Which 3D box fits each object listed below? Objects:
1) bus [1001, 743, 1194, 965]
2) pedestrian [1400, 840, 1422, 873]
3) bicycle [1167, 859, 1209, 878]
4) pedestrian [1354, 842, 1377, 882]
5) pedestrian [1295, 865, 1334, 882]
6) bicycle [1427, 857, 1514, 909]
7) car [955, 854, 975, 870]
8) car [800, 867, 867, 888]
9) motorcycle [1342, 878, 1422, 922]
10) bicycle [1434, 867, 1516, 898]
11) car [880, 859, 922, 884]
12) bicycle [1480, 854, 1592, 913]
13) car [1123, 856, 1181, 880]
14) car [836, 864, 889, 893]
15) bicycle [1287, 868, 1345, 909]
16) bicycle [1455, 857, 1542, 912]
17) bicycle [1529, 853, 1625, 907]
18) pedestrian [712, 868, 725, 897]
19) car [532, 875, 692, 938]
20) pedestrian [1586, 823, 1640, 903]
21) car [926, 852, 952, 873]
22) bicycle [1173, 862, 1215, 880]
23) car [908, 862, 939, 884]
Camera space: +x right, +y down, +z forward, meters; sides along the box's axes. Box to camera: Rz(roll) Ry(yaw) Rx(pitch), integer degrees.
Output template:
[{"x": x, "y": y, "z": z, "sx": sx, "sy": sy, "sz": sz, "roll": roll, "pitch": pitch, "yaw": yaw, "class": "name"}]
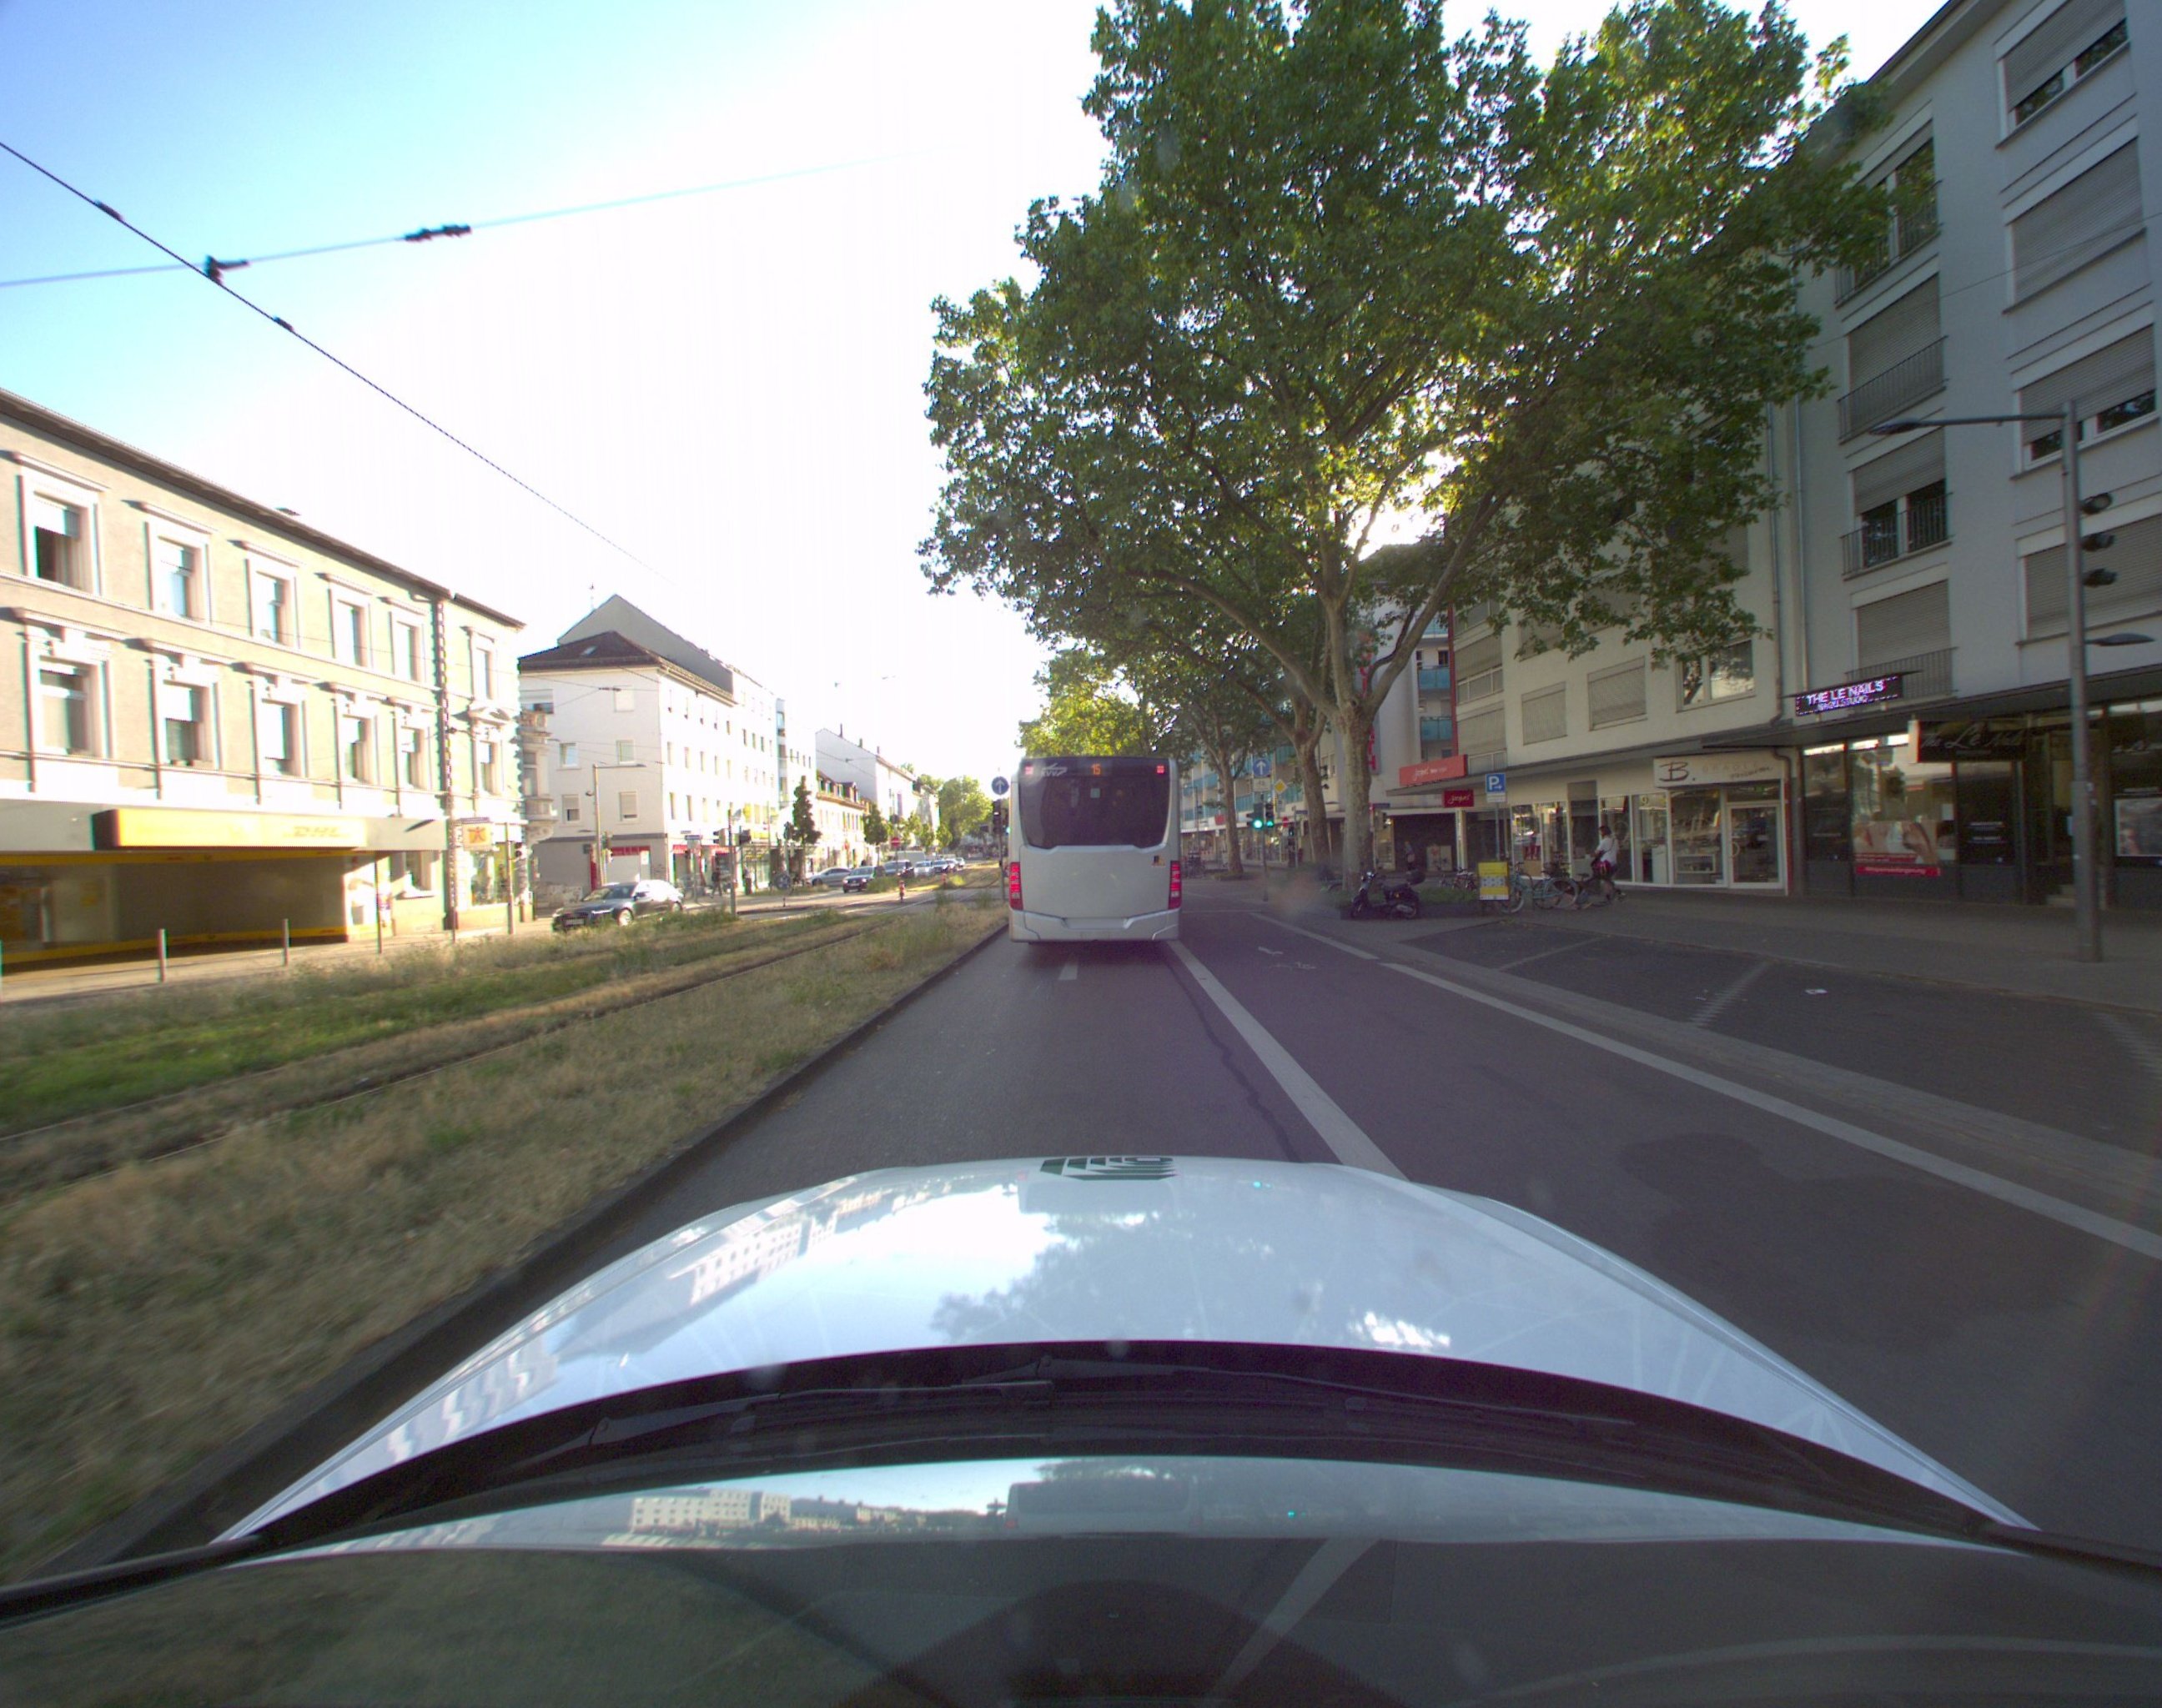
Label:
[{"x": 0.408, "y": -0.005, "z": 15.043, "sx": 2.667, "sy": 3.083, "sz": 7.119, "roll": -1, "pitch": 0, "yaw": 3, "class": "bus"}, {"x": 17.581, "y": 0.131, "z": 43.414, "sx": 0.746, "sy": 1.679, "sz": 0.834, "roll": -2, "pitch": 2, "yaw": -5, "class": "pedestrian"}, {"x": 6.418, "y": 0.861, "z": 48.946, "sx": 2.308, "sy": 1.028, "sz": 0.835, "roll": -2, "pitch": 1, "yaw": -7, "class": "bicycle"}, {"x": 13.340, "y": 0.376, "z": 38.214, "sx": 0.777, "sy": 1.794, "sz": 0.764, "roll": -2, "pitch": -1, "yaw": 1, "class": "pedestrian"}, {"x": 8.339, "y": 0.696, "z": 29.146, "sx": 1.250, "sy": 0.589, "sz": 0.482, "roll": -1, "pitch": -1, "yaw": -1, "class": "pedestrian"}, {"x": 10.214, "y": 0.765, "z": 21.421, "sx": 1.865, "sy": 1.189, "sz": 0.713, "roll": -5, "pitch": -1, "yaw": 9, "class": "bicycle"}, {"x": -15.389, "y": 0.999, "z": 108.198, "sx": 1.988, "sy": 2.013, "sz": 3.998, "roll": -2, "pitch": 0, "yaw": -1, "class": "car"}, {"x": -19.174, "y": 1.783, "z": 63.196, "sx": 4.571, "sy": 1.412, "sz": 1.978, "roll": -2, "pitch": 0, "yaw": -35, "class": "car"}, {"x": 6.744, "y": 1.020, "z": 18.293, "sx": 1.566, "sy": 0.892, "sz": 0.544, "roll": -2, "pitch": -1, "yaw": -2, "class": "motorcycle"}, {"x": 10.713, "y": 0.767, "z": 22.210, "sx": 1.865, "sy": 0.765, "sz": 0.713, "roll": -2, "pitch": 0, "yaw": 9, "class": "bicycle"}, {"x": -12.888, "y": 1.231, "z": 58.711, "sx": 1.773, "sy": 1.615, "sz": 4.512, "roll": 0, "pitch": 0, "yaw": 3, "class": "car"}, {"x": 10.560, "y": 0.677, "z": 18.961, "sx": 2.070, "sy": 1.233, "sz": 0.833, "roll": -3, "pitch": -1, "yaw": 6, "class": "bicycle"}, {"x": 5.077, "y": 0.996, "z": 57.954, "sx": 1.975, "sy": 1.530, "sz": 4.024, "roll": -3, "pitch": 0, "yaw": 44, "class": "car"}, {"x": -13.018, "y": 1.437, "z": 48.821, "sx": 1.773, "sy": 1.450, "sz": 4.048, "roll": -4, "pitch": 1, "yaw": 3, "class": "car"}, {"x": 6.658, "y": 0.968, "z": 23.089, "sx": 1.503, "sy": 1.105, "sz": 0.460, "roll": 1, "pitch": 0, "yaw": 1, "class": "bicycle"}, {"x": 10.455, "y": 0.760, "z": 20.407, "sx": 1.784, "sy": 1.189, "sz": 0.670, "roll": -5, "pitch": -1, "yaw": -7, "class": "bicycle"}, {"x": 11.725, "y": 0.611, "z": 19.307, "sx": 1.753, "sy": 1.154, "sz": 0.680, "roll": -4, "pitch": -1, "yaw": 10, "class": "bicycle"}, {"x": -21.559, "y": 1.679, "z": 48.428, "sx": 0.424, "sy": 1.713, "sz": 0.509, "roll": -2, "pitch": -1, "yaw": 5, "class": "pedestrian"}, {"x": -14.100, "y": 1.510, "z": 24.910, "sx": 1.986, "sy": 1.559, "sz": 4.776, "roll": -2, "pitch": 0, "yaw": 1, "class": "car"}, {"x": 12.837, "y": 0.210, "z": 19.675, "sx": 0.643, "sy": 1.876, "sz": 0.821, "roll": -2, "pitch": -1, "yaw": -12, "class": "pedestrian"}, {"x": -14.544, "y": 0.839, "z": 83.523, "sx": 1.988, "sy": 2.013, "sz": 3.998, "roll": -2, "pitch": 0, "yaw": -1, "class": "car"}, {"x": 6.617, "y": 0.991, "z": 47.724, "sx": 2.308, "sy": 0.939, "sz": 0.835, "roll": -2, "pitch": 1, "yaw": -7, "class": "bicycle"}, {"x": -13.717, "y": 1.611, "z": 71.200, "sx": 1.892, "sy": 1.804, "sz": 3.998, "roll": -2, "pitch": 0, "yaw": -1, "class": "car"}]
